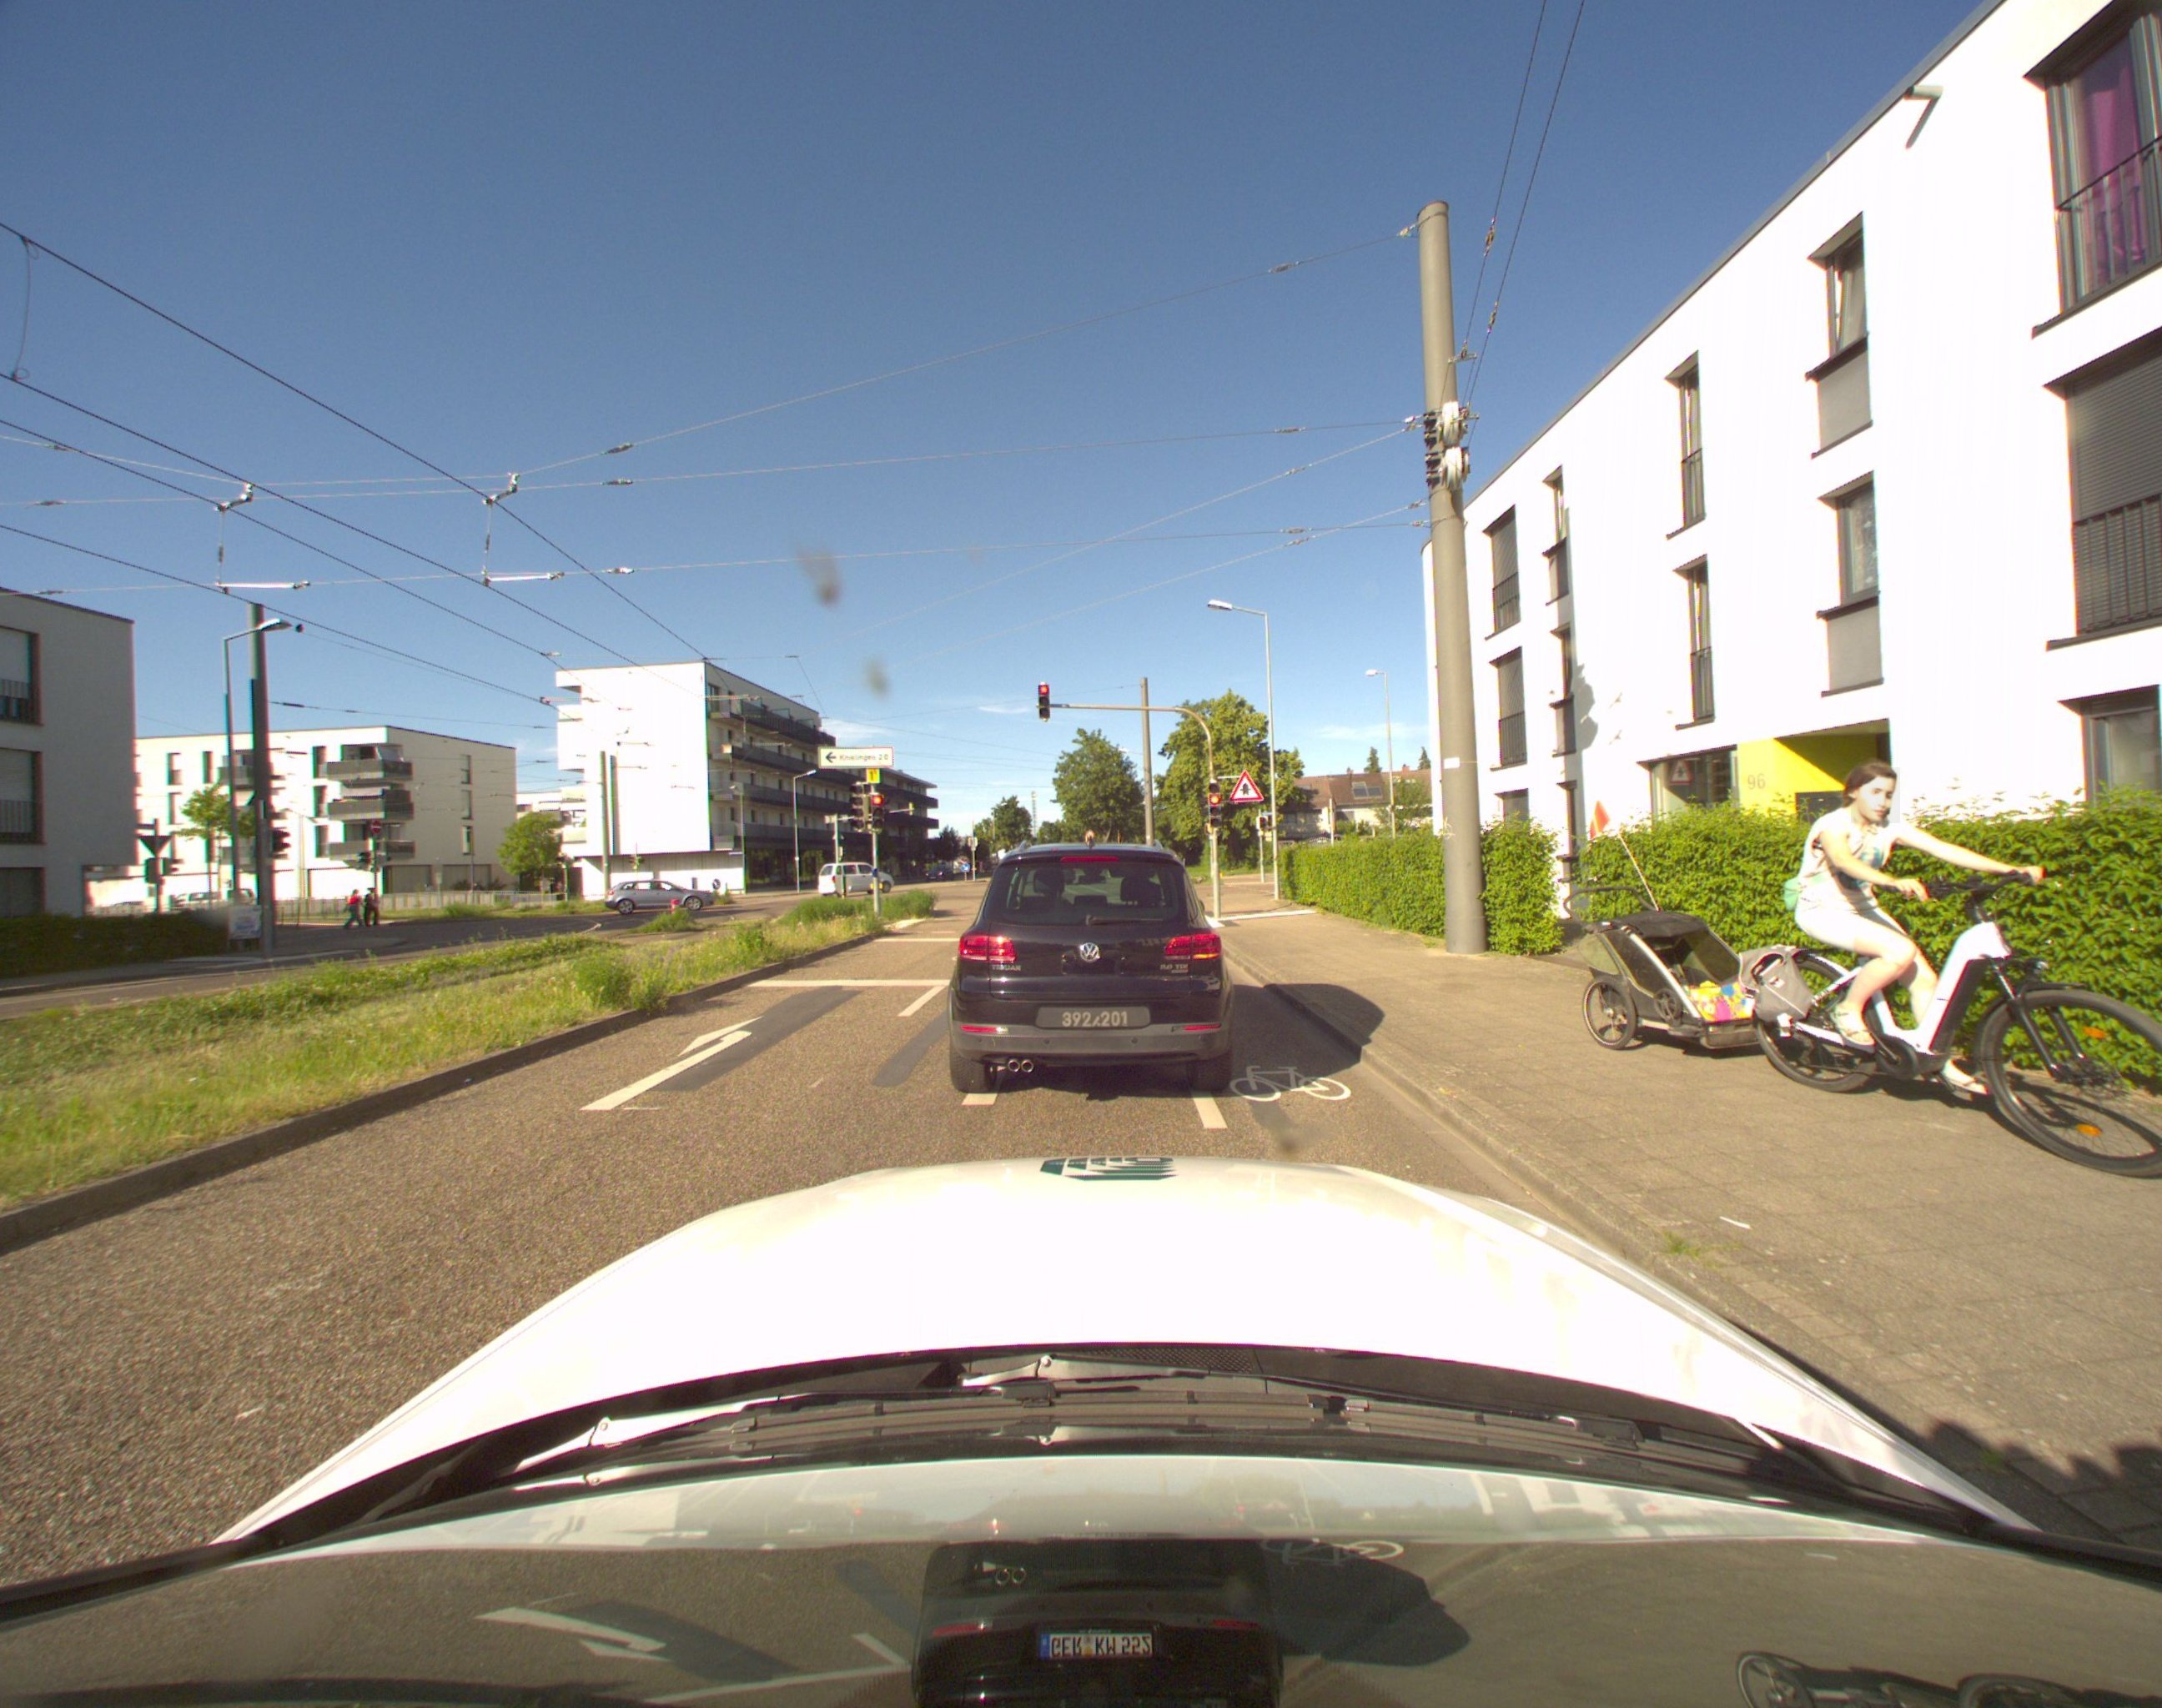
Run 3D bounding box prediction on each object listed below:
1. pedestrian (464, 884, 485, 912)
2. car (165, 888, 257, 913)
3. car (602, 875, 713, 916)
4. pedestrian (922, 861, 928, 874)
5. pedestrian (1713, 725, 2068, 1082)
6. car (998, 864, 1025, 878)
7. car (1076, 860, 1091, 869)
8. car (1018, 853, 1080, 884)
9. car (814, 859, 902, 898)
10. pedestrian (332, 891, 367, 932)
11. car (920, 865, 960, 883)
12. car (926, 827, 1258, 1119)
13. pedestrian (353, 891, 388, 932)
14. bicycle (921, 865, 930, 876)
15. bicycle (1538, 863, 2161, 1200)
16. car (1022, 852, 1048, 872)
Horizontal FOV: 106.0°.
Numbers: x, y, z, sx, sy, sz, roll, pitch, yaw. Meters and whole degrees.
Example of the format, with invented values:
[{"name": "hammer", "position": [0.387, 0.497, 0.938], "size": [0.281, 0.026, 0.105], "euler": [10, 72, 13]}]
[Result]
[{"name": "pedestrian", "position": [-38.625, 2.814, 51.904], "size": [0.810, 1.692, 0.621], "euler": [-3, -1, 1]}, {"name": "car", "position": [-58.934, 3.157, 55.211], "size": [4.305, 1.574, 2.002], "euler": [0, -1, 4]}, {"name": "car", "position": [-18.256, 1.752, 35.222], "size": [4.121, 1.485, 1.852], "euler": [-2, -1, -29]}, {"name": "pedestrian", "position": [-18.858, 1.606, 98.473], "size": [0.640, 1.509, 0.596], "euler": [0, -1, 2]}, {"name": "pedestrian", "position": [4.060, 0.219, 4.169], "size": [0.909, 1.594, 0.853], "euler": [-3, -1, -6]}, {"name": "car", "position": [-7.968, 1.969, 93.784], "size": [1.981, 1.574, 4.350], "euler": [-1, -1, 9]}, {"name": "car", "position": [0.405, 1.930, 144.827], "size": [1.981, 1.574, 4.350], "euler": [-1, -1, 9]}, {"name": "car", "position": [-2.044, 0.870, 50.680], "size": [2.009, 1.836, 3.956], "euler": [0, -1, -36]}, {"name": "car", "position": [-10.857, 1.167, 39.724], "size": [3.705, 1.720, 1.848], "euler": [-2, 0, -39]}, {"name": "pedestrian", "position": [-30.312, 2.375, 33.760], "size": [0.769, 1.605, 0.742], "euler": [0, -1, -2]}, {"name": "car", "position": [-12.377, 1.748, 71.909], "size": [1.980, 1.574, 4.353], "euler": [-1, -1, 11]}, {"name": "car", "position": [0.124, 0.688, 6.593], "size": [1.862, 1.637, 4.001], "euler": [0, -1, 2]}, {"name": "pedestrian", "position": [-29.364, 2.367, 33.681], "size": [0.769, 1.605, 0.742], "euler": [0, -1, -2]}, {"name": "bicycle", "position": [-18.848, 1.963, 98.596], "size": [0.627, 1.332, 1.914], "euler": [0, -1, 3]}, {"name": "bicycle", "position": [4.039, 0.660, 4.556], "size": [0.927, 1.173, 3.119], "euler": [-3, 0, -6]}, {"name": "car", "position": [-3.927, 0.656, 70.264], "size": [1.986, 1.684, 4.001], "euler": [0, -1, 1]}]
